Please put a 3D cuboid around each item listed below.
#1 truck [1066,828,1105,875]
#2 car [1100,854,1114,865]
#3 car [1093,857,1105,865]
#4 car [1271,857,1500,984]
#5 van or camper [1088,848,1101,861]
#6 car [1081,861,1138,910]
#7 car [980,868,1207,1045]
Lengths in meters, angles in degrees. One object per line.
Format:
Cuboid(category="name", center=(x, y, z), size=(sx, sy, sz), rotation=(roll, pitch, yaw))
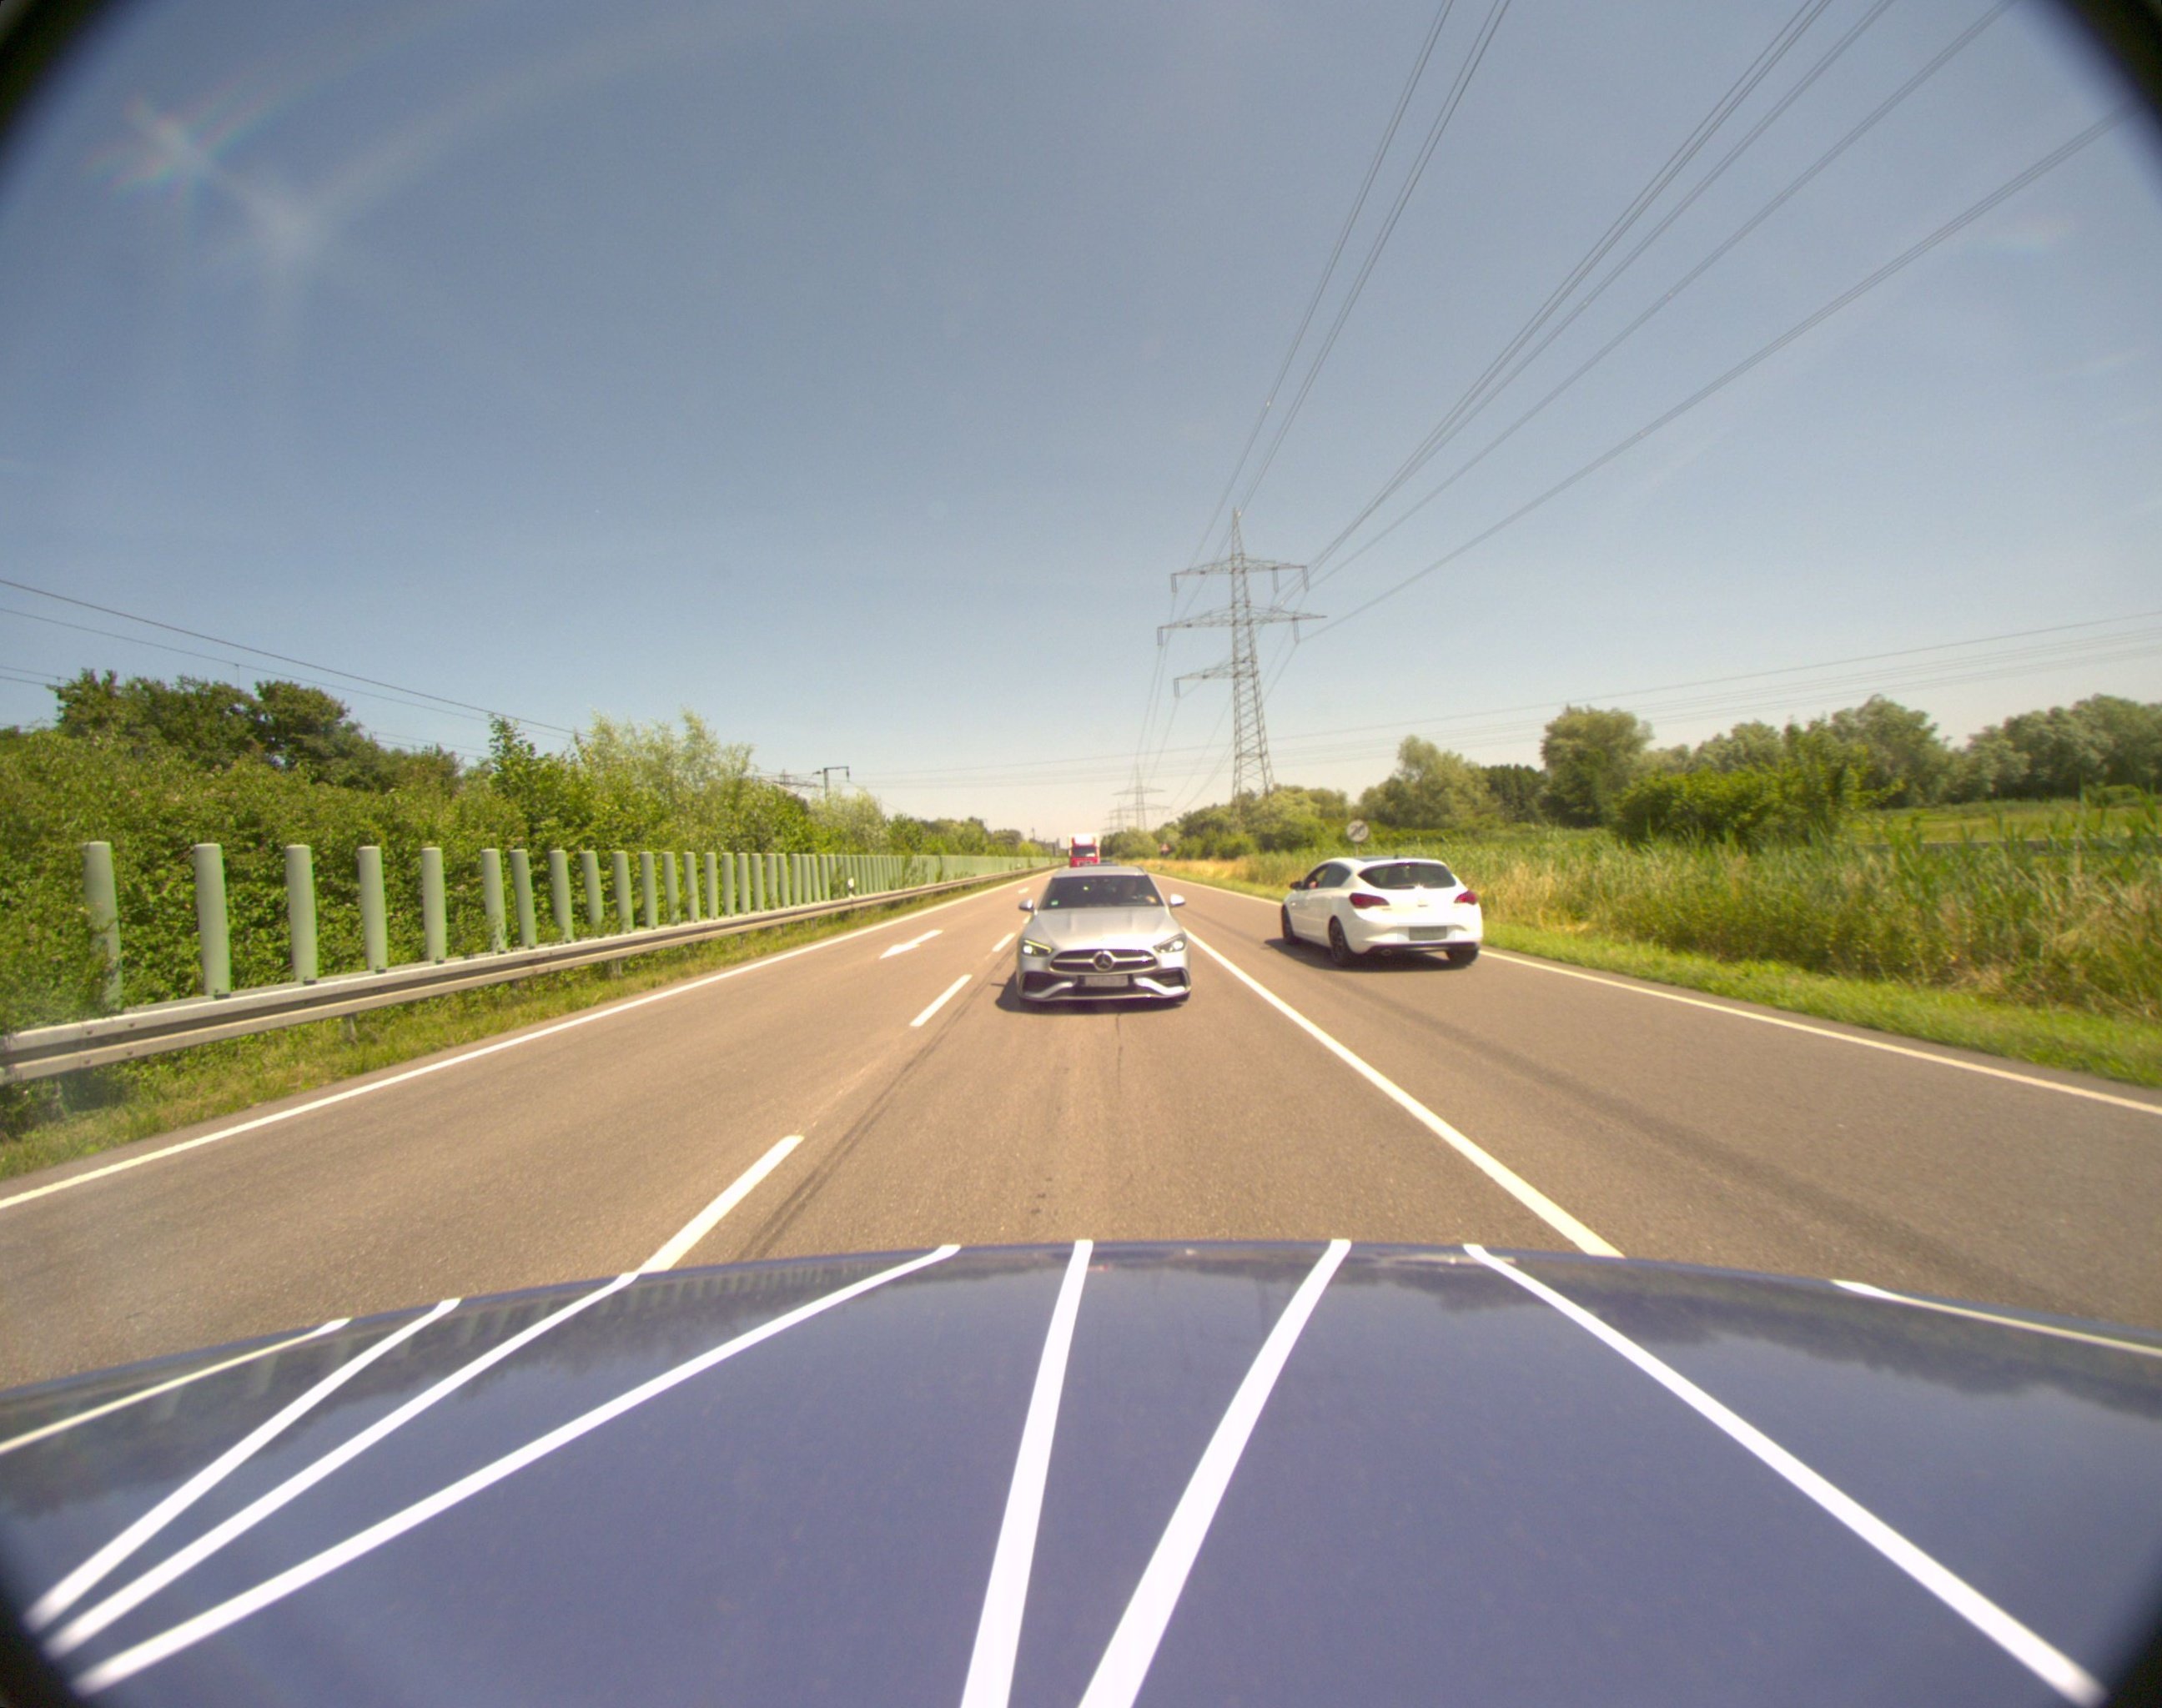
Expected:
Cuboid(category="truck", center=(0.425, -0.209, 65.928), size=(2.907, 3.641, 7.156), rotation=(-4, 0, 1))
Cuboid(category="car", center=(3.726, 0.764, 108.614), size=(1.749, 1.425, 4.322), rotation=(-2, 0, -1))
Cuboid(category="car", center=(3.159, 1.221, 133.168), size=(1.864, 1.221, 4.322), rotation=(-2, 0, -1))
Cuboid(category="car", center=(4.198, 0.809, 11.266), size=(1.729, 1.432, 4.249), rotation=(-3, 0, 2))
Cuboid(category="van or camper", center=(3.121, 0.039, 178.295), size=(2.578, 2.865, 6.744), rotation=(-2, 1, -3))
Cuboid(category="car", center=(0.943, 0.980, 25.465), size=(1.697, 1.385, 4.468), rotation=(-2, 0, 2))
Cuboid(category="car", center=(0.160, 0.965, 9.066), size=(1.998, 1.437, 4.467), rotation=(-2, 0, 1))
